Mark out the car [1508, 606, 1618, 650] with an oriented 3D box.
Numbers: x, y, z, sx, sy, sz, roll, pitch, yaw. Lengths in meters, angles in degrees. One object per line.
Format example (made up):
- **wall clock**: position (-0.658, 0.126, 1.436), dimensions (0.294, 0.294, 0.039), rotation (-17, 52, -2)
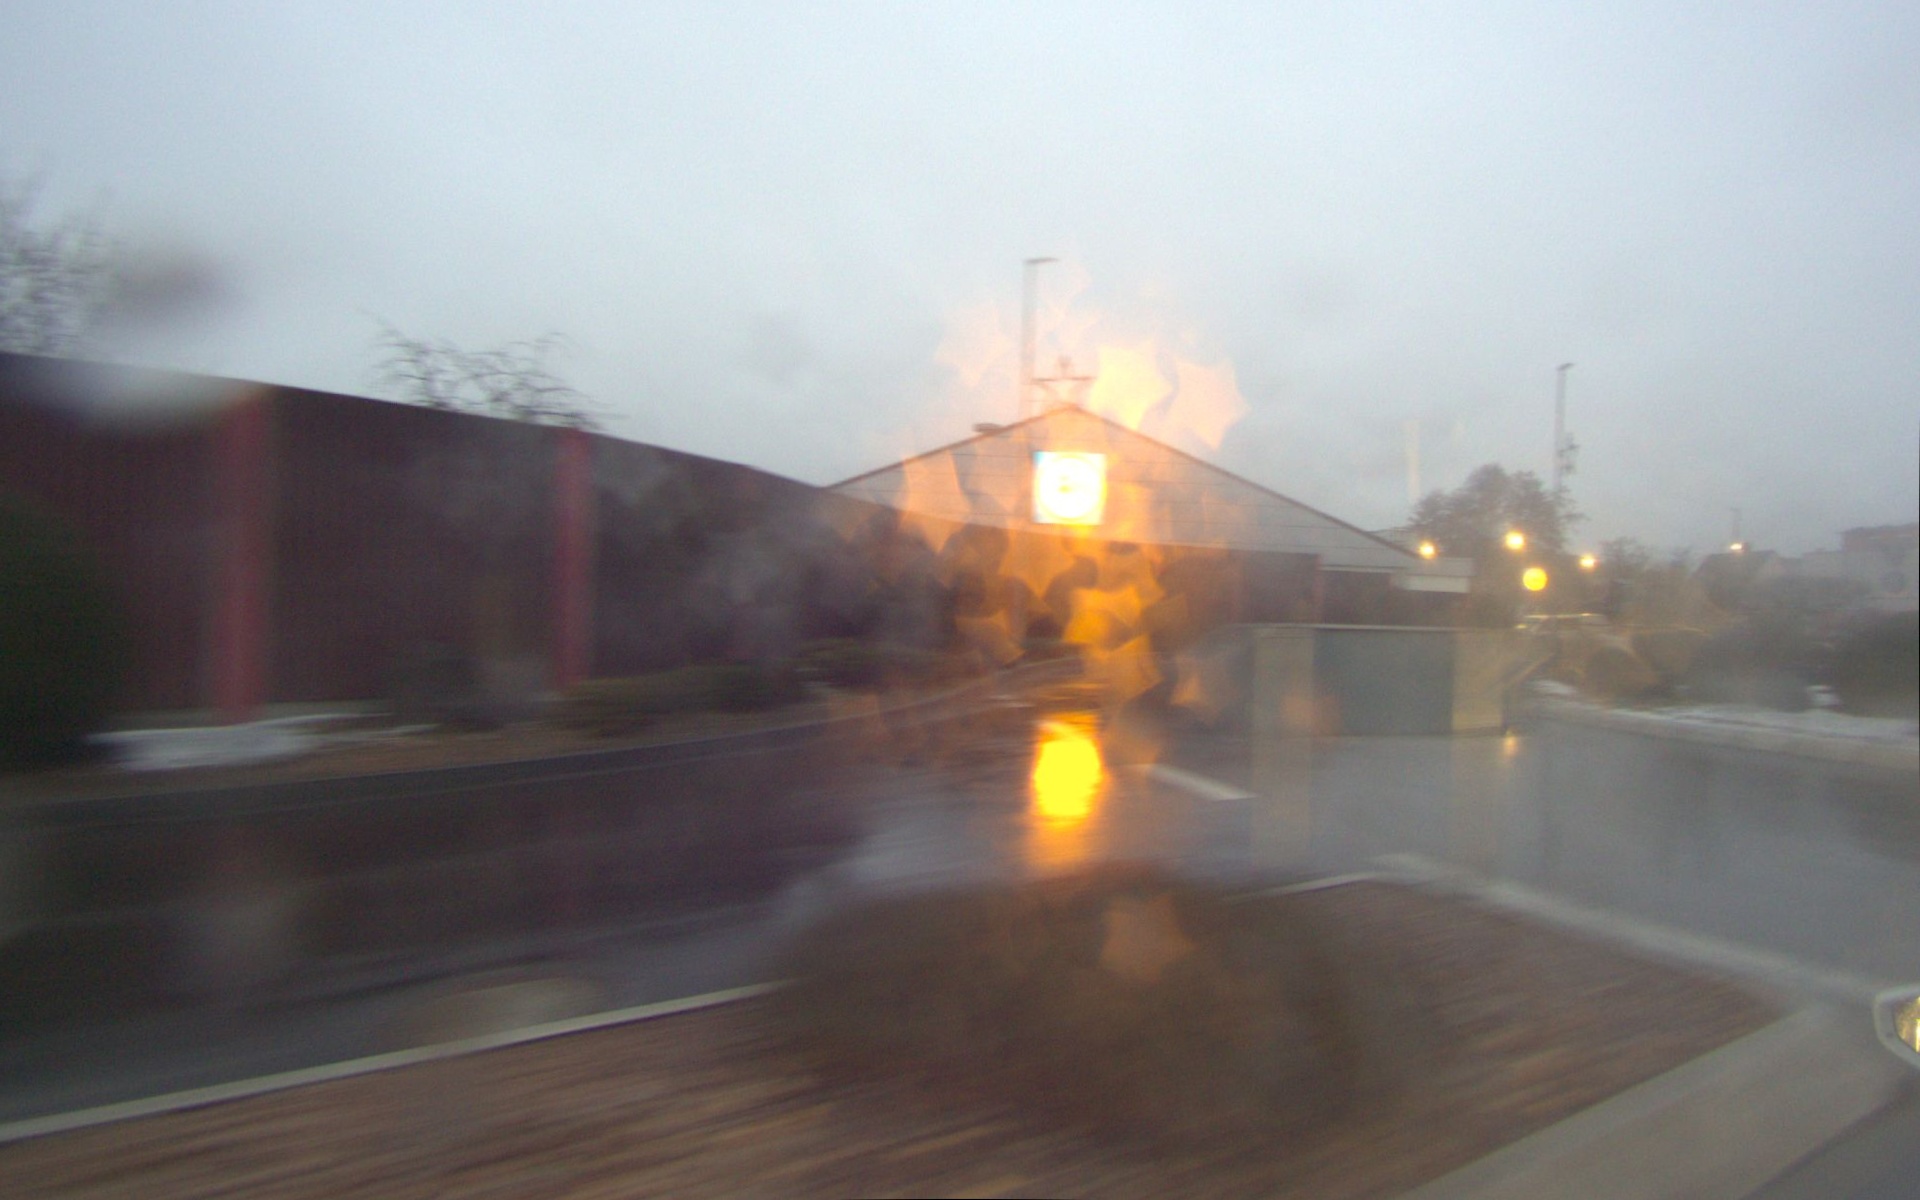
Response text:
- **car**: position (35.551, 1.613, 59.297), dimensions (5.321, 2.162, 2.031), rotation (4, 1, -5)
